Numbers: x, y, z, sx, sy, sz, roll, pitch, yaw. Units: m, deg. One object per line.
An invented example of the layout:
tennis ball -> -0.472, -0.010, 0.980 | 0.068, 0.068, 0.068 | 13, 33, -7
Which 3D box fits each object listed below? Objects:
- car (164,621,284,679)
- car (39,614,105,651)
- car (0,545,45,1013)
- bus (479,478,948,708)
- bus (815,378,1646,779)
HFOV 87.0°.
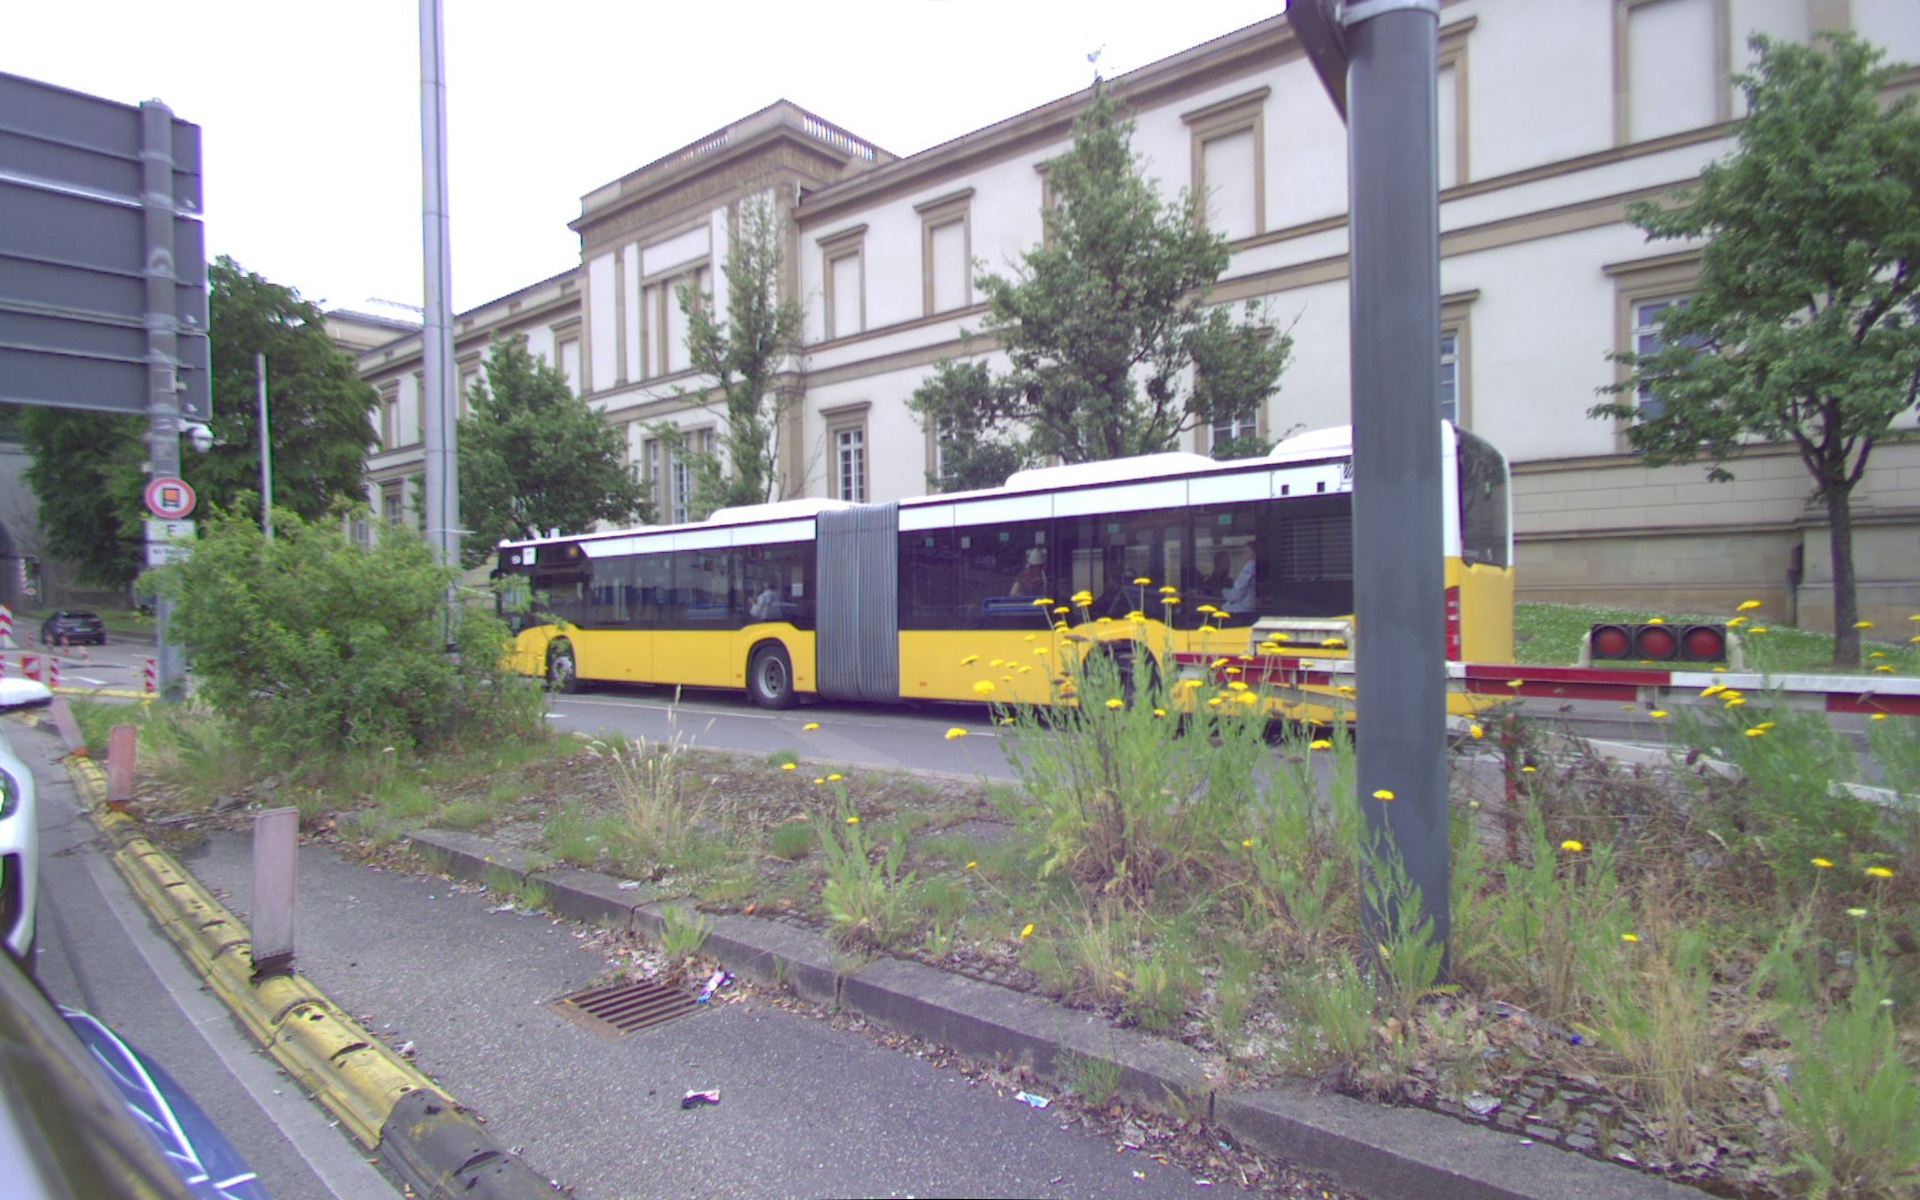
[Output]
car -> -21.156, 1.384, 29.022 | 4.625, 1.482, 1.684 | -1, 0, 40
car -> -40.665, 1.465, 46.313 | 3.879, 1.601, 1.680 | -1, 0, 40
car -> -5.262, 0.666, 4.177 | 3.881, 1.603, 1.824 | -2, 0, 42
bus -> -4.852, -0.028, 18.015 | 9.739, 3.137, 2.817 | -1, 0, 40
bus -> 2.432, -0.107, 11.943 | 9.114, 3.137, 2.817 | -1, 0, 40
